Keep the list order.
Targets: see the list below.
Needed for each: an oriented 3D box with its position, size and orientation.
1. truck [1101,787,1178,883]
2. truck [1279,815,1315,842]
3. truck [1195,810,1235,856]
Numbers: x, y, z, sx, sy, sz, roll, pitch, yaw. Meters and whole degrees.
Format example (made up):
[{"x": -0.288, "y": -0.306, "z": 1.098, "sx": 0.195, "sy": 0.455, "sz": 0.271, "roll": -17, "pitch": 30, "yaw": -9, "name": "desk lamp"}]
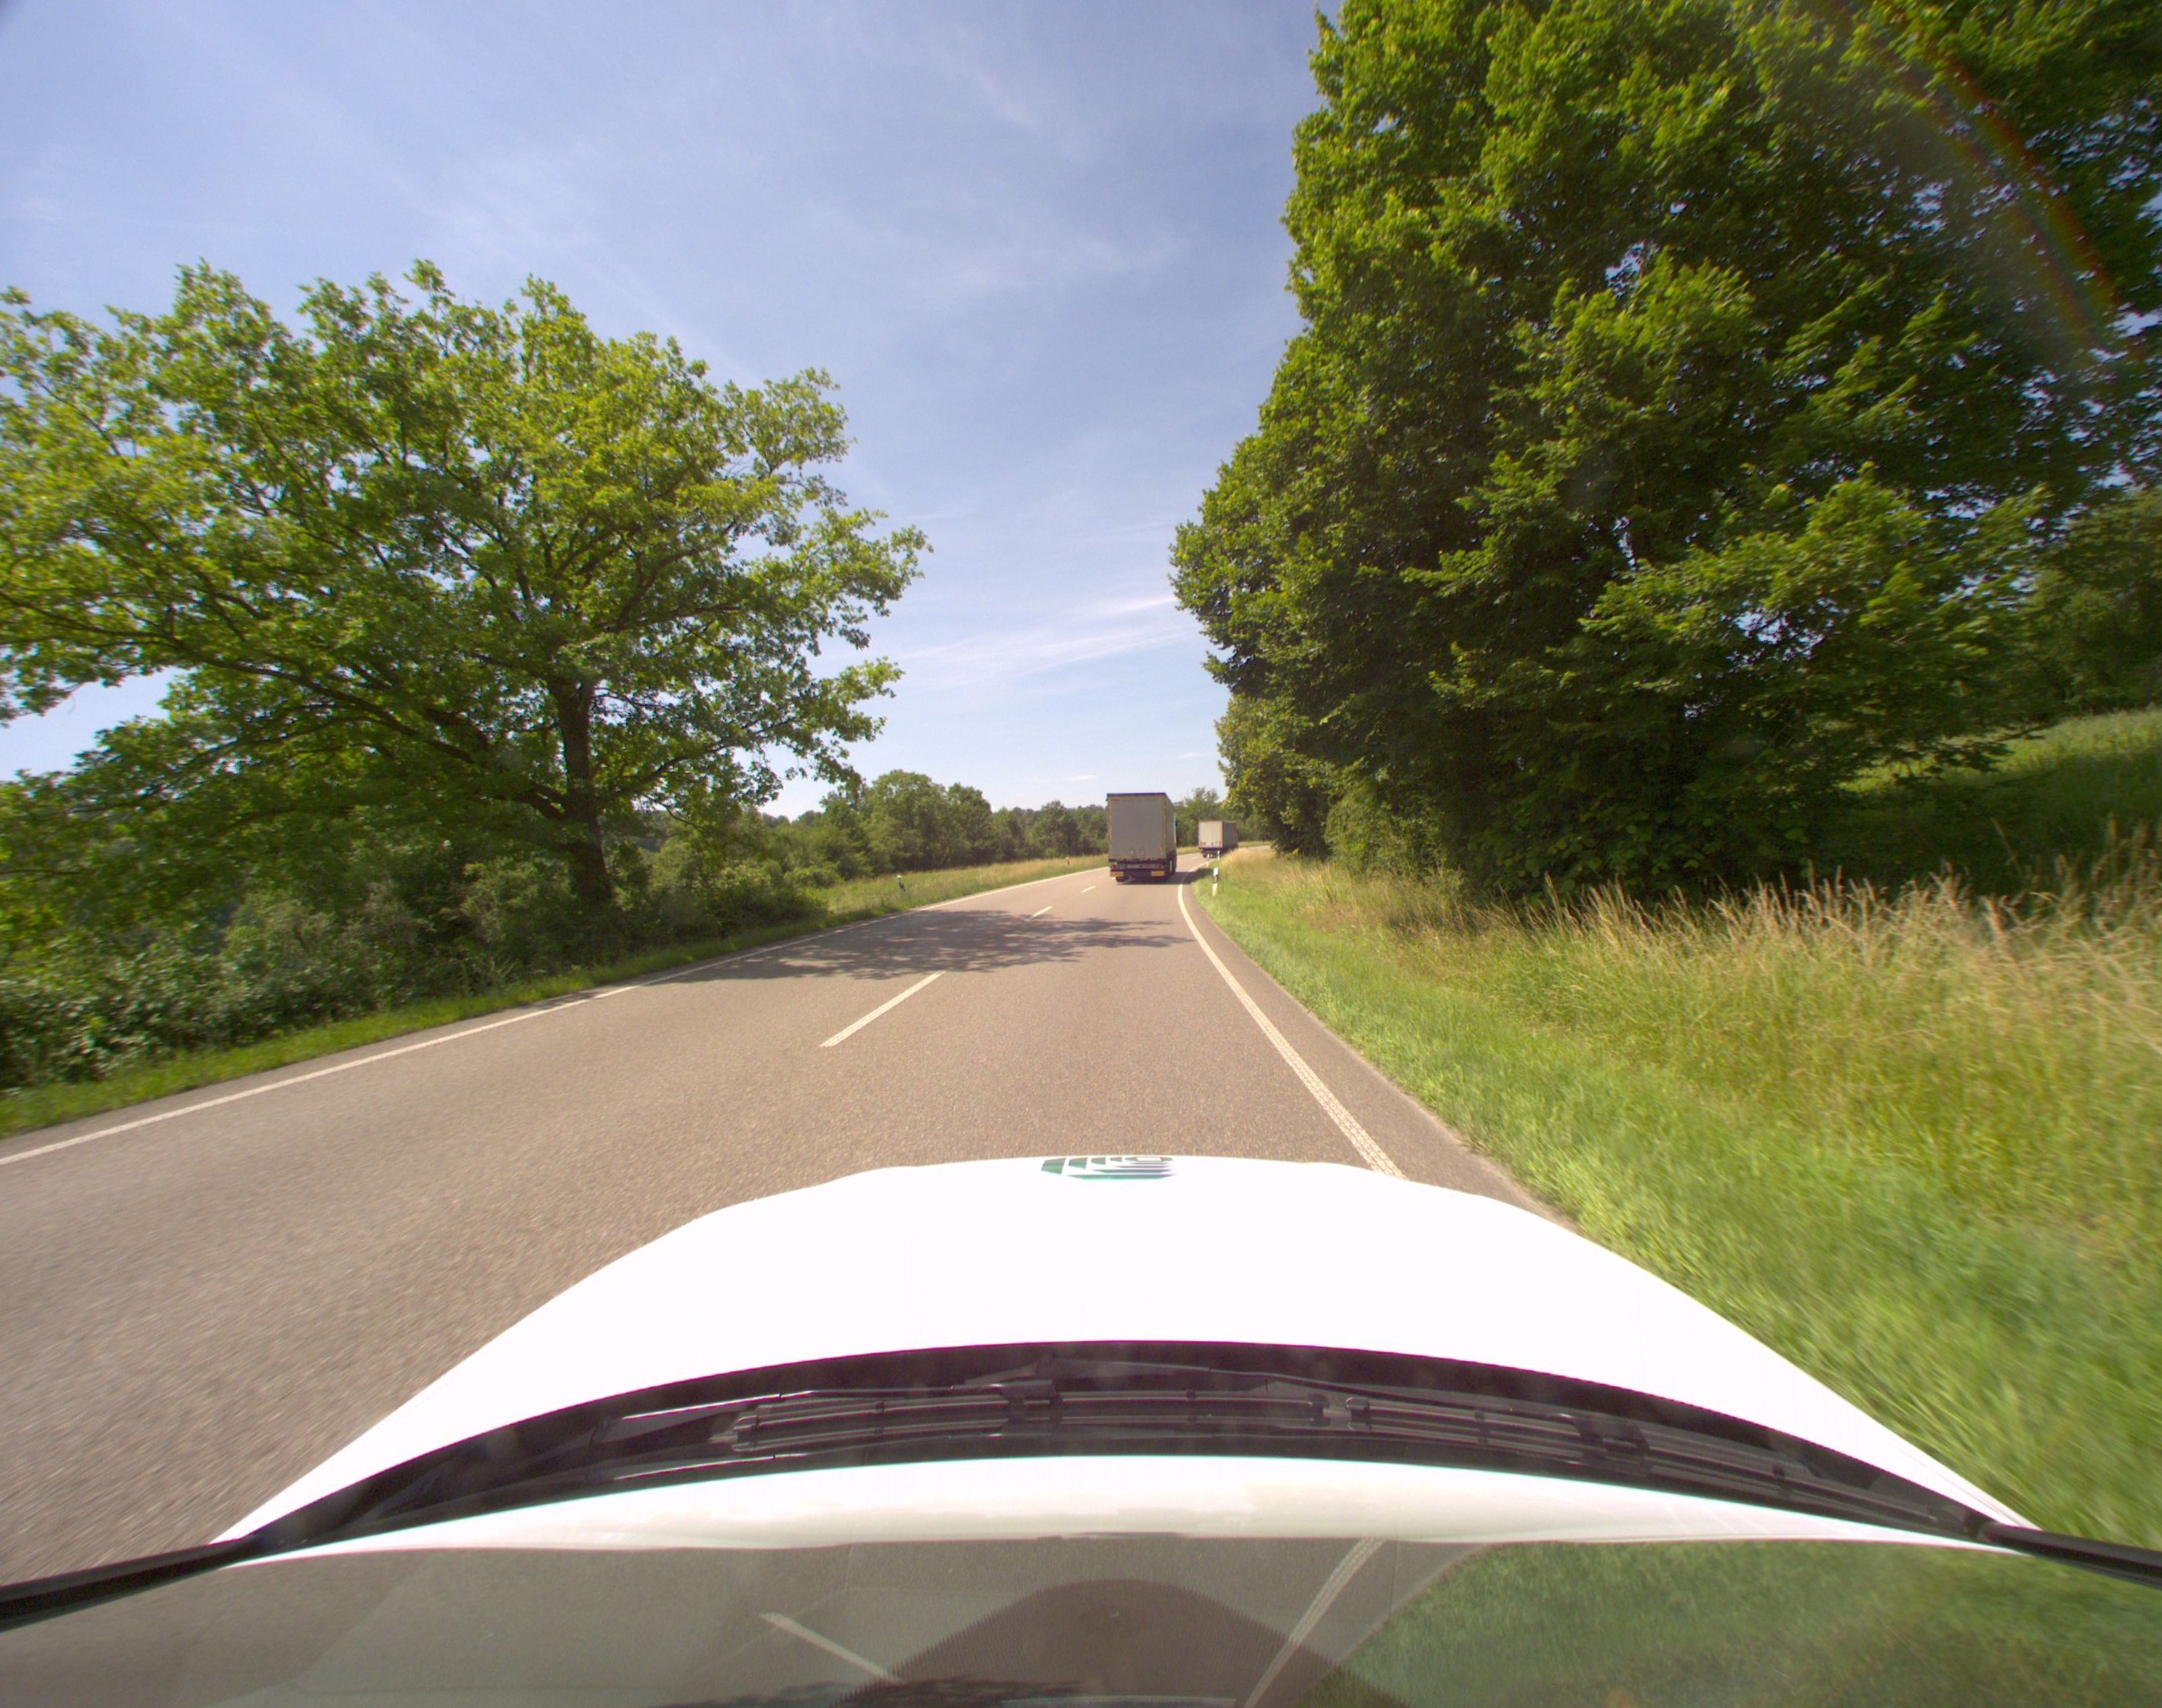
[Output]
[{"x": 3.429, "y": -0.875, "z": 42.708, "sx": 2.785, "sy": 4.068, "sz": 15.362, "roll": -1, "pitch": 0, "yaw": 8, "name": "truck"}, {"x": 41.535, "y": -4.827, "z": 156.228, "sx": 3.076, "sy": 4.705, "sz": 16.689, "roll": -2, "pitch": 0, "yaw": 27, "name": "truck"}, {"x": 15.666, "y": -2.311, "z": 94.147, "sx": 3.083, "sy": 4.705, "sz": 16.652, "roll": -2, "pitch": 0, "yaw": 14, "name": "truck"}]
